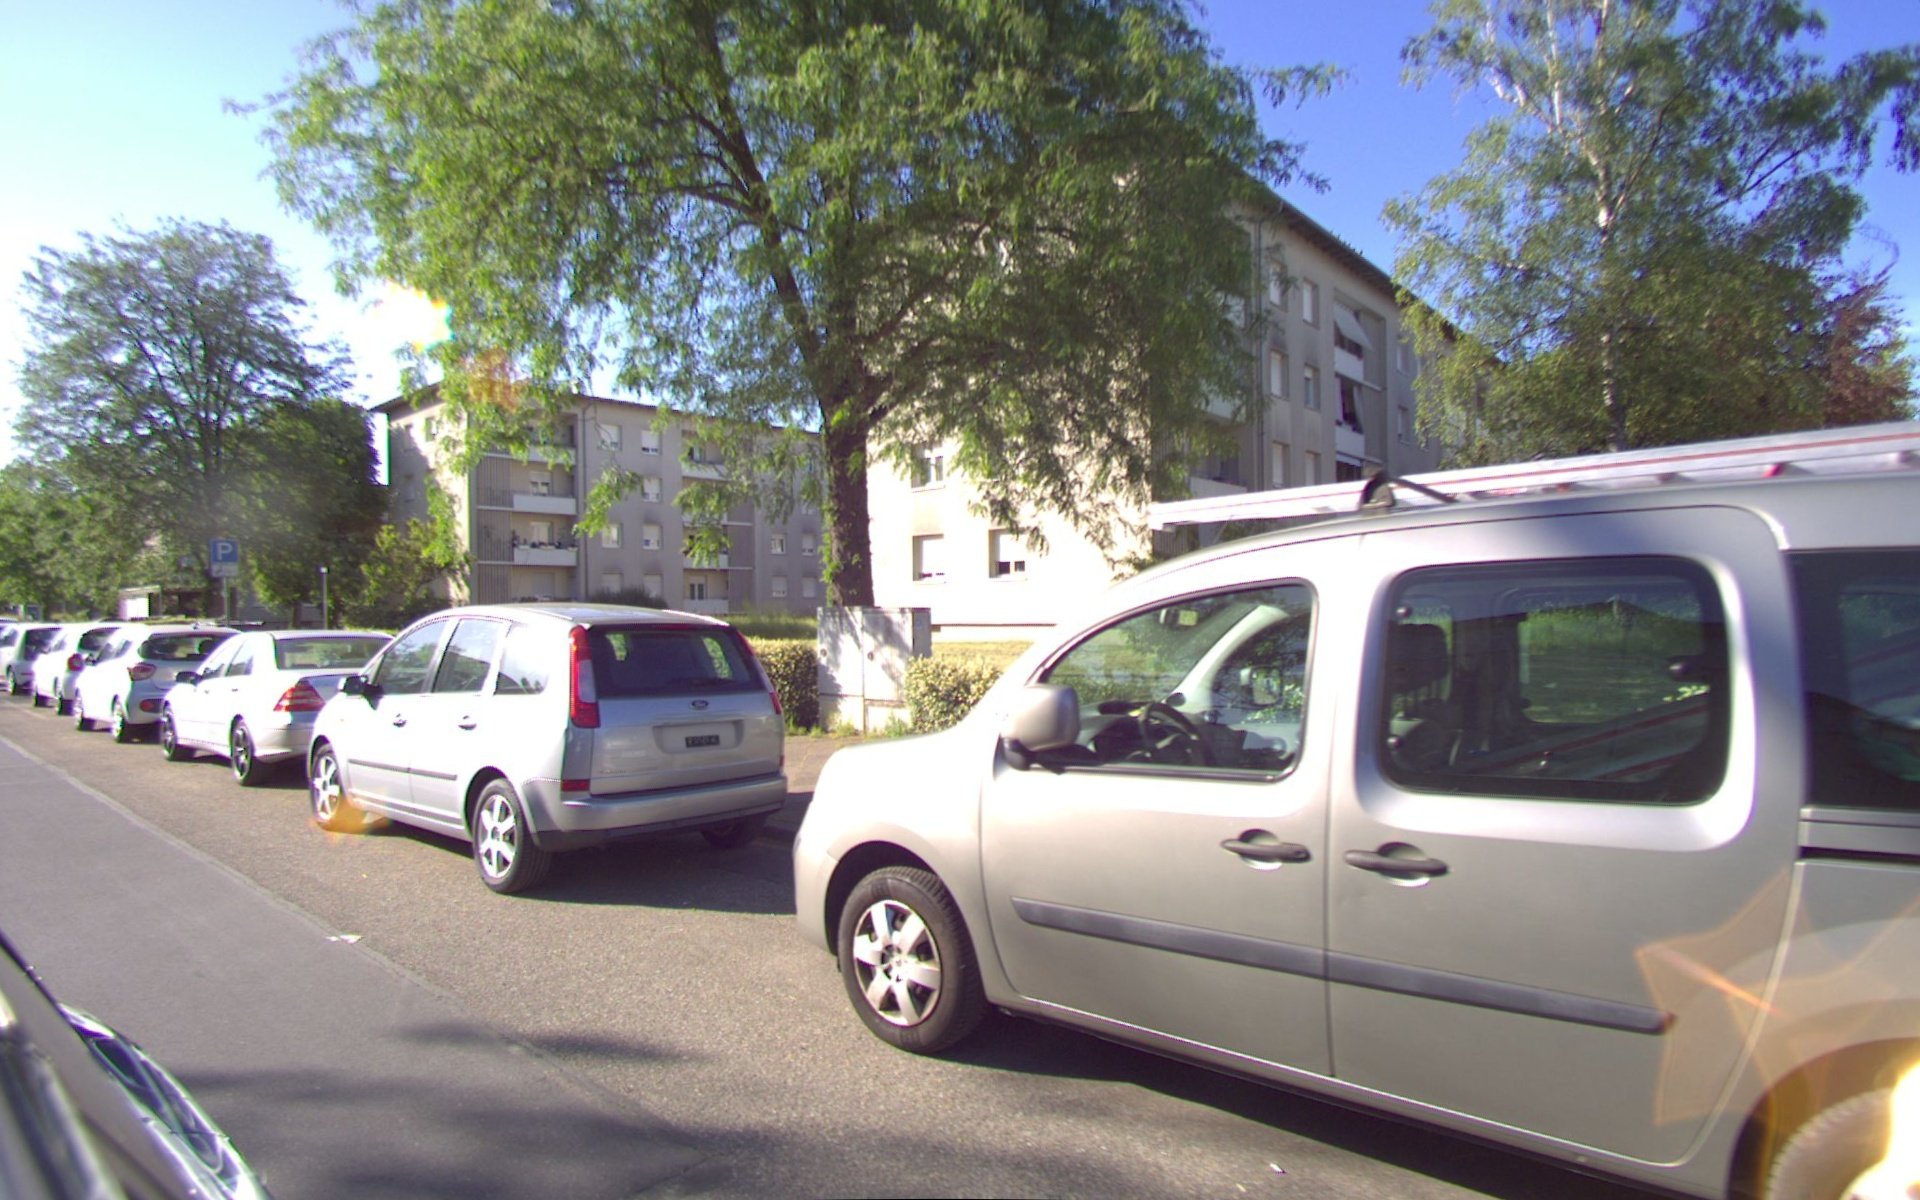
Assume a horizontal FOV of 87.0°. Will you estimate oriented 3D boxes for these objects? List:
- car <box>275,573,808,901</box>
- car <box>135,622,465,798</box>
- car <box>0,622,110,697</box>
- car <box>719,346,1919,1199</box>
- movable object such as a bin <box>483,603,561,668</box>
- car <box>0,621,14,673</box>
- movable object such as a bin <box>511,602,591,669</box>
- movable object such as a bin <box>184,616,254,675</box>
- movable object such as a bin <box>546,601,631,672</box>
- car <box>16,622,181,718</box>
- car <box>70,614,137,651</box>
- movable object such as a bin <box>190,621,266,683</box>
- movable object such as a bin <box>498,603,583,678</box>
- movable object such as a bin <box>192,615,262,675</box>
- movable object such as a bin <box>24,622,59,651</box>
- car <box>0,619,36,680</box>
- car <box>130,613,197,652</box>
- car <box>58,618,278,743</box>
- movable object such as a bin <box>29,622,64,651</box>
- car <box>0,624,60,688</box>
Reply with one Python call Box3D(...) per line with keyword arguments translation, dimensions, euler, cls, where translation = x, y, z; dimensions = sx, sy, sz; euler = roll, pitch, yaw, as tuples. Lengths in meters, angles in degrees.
Box3D(translation=(-3.021, 0.737, 6.938), dimensions=(3.982, 1.612, 1.692), euler=(-1, -3, 40), cls="car")
Box3D(translation=(-7.051, 0.988, 10.612), dimensions=(4.522, 1.476, 1.669), euler=(-1, -3, 41), cls="car")
Box3D(translation=(-20.403, 1.266, 22.345), dimensions=(3.529, 1.525, 1.648), euler=(-1, -2, 35), cls="car")
Box3D(translation=(1.337, 0.542, 3.235), dimensions=(4.414, 1.907, 1.836), euler=(-1, -2, 40), cls="car")
Box3D(translation=(-10.582, 0.842, 24.449), dimensions=(1.462, 1.431, 1.165), euler=(-2, 2, 43), cls="movable object such as a bin")
Box3D(translation=(-31.843, 1.502, 32.584), dimensions=(3.532, 1.618, 1.619), euler=(-1, -2, 40), cls="car")
Box3D(translation=(-9.527, 0.816, 23.574), dimensions=(1.462, 1.431, 1.165), euler=(-2, 2, 43), cls="movable object such as a bin")
Box3D(translation=(-18.929, 1.141, 25.864), dimensions=(1.441, 1.393, 1.124), euler=(-2, 2, 42), cls="movable object such as a bin")
Box3D(translation=(-8.173, 0.793, 22.281), dimensions=(1.462, 1.431, 1.165), euler=(-2, 2, 43), cls="movable object such as a bin")
Box3D(translation=(-15.547, 1.173, 18.203), dimensions=(3.888, 1.546, 1.669), euler=(-1, -2, 40), cls="car")
Box3D(translation=(-38.260, 1.438, 45.176), dimensions=(3.996, 1.537, 1.555), euler=(-1, 0, 39), cls="car")
Box3D(translation=(-17.544, 1.234, 24.262), dimensions=(1.343, 1.350, 1.165), euler=(-2, 2, 42), cls="movable object such as a bin")
Box3D(translation=(-8.744, 0.819, 21.091), dimensions=(1.360, 1.431, 1.122), euler=(-2, 2, 42), cls="movable object such as a bin")
Box3D(translation=(-18.347, 1.112, 25.325), dimensions=(1.243, 1.368, 1.124), euler=(-2, 2, 42), cls="movable object such as a bin")
Box3D(translation=(-46.937, 1.861, 51.734), dimensions=(1.343, 1.418, 1.165), euler=(-2, 0, 42), cls="movable object such as a bin")
Box3D(translation=(-27.972, 1.396, 28.885), dimensions=(4.346, 1.652, 1.883), euler=(-1, -2, 41), cls="car")
Box3D(translation=(-36.407, 1.455, 46.219), dimensions=(3.996, 1.653, 1.555), euler=(-1, 0, 39), cls="car")
Box3D(translation=(-11.223, 1.031, 14.258), dimensions=(3.814, 1.517, 1.670), euler=(-1, -1, 40), cls="car")
Box3D(translation=(-45.893, 1.824, 50.827), dimensions=(1.343, 1.350, 1.165), euler=(-2, 0, 42), cls="movable object such as a bin")
Box3D(translation=(-23.968, 1.364, 25.409), dimensions=(3.944, 1.525, 1.645), euler=(-1, -2, 42), cls="car")
